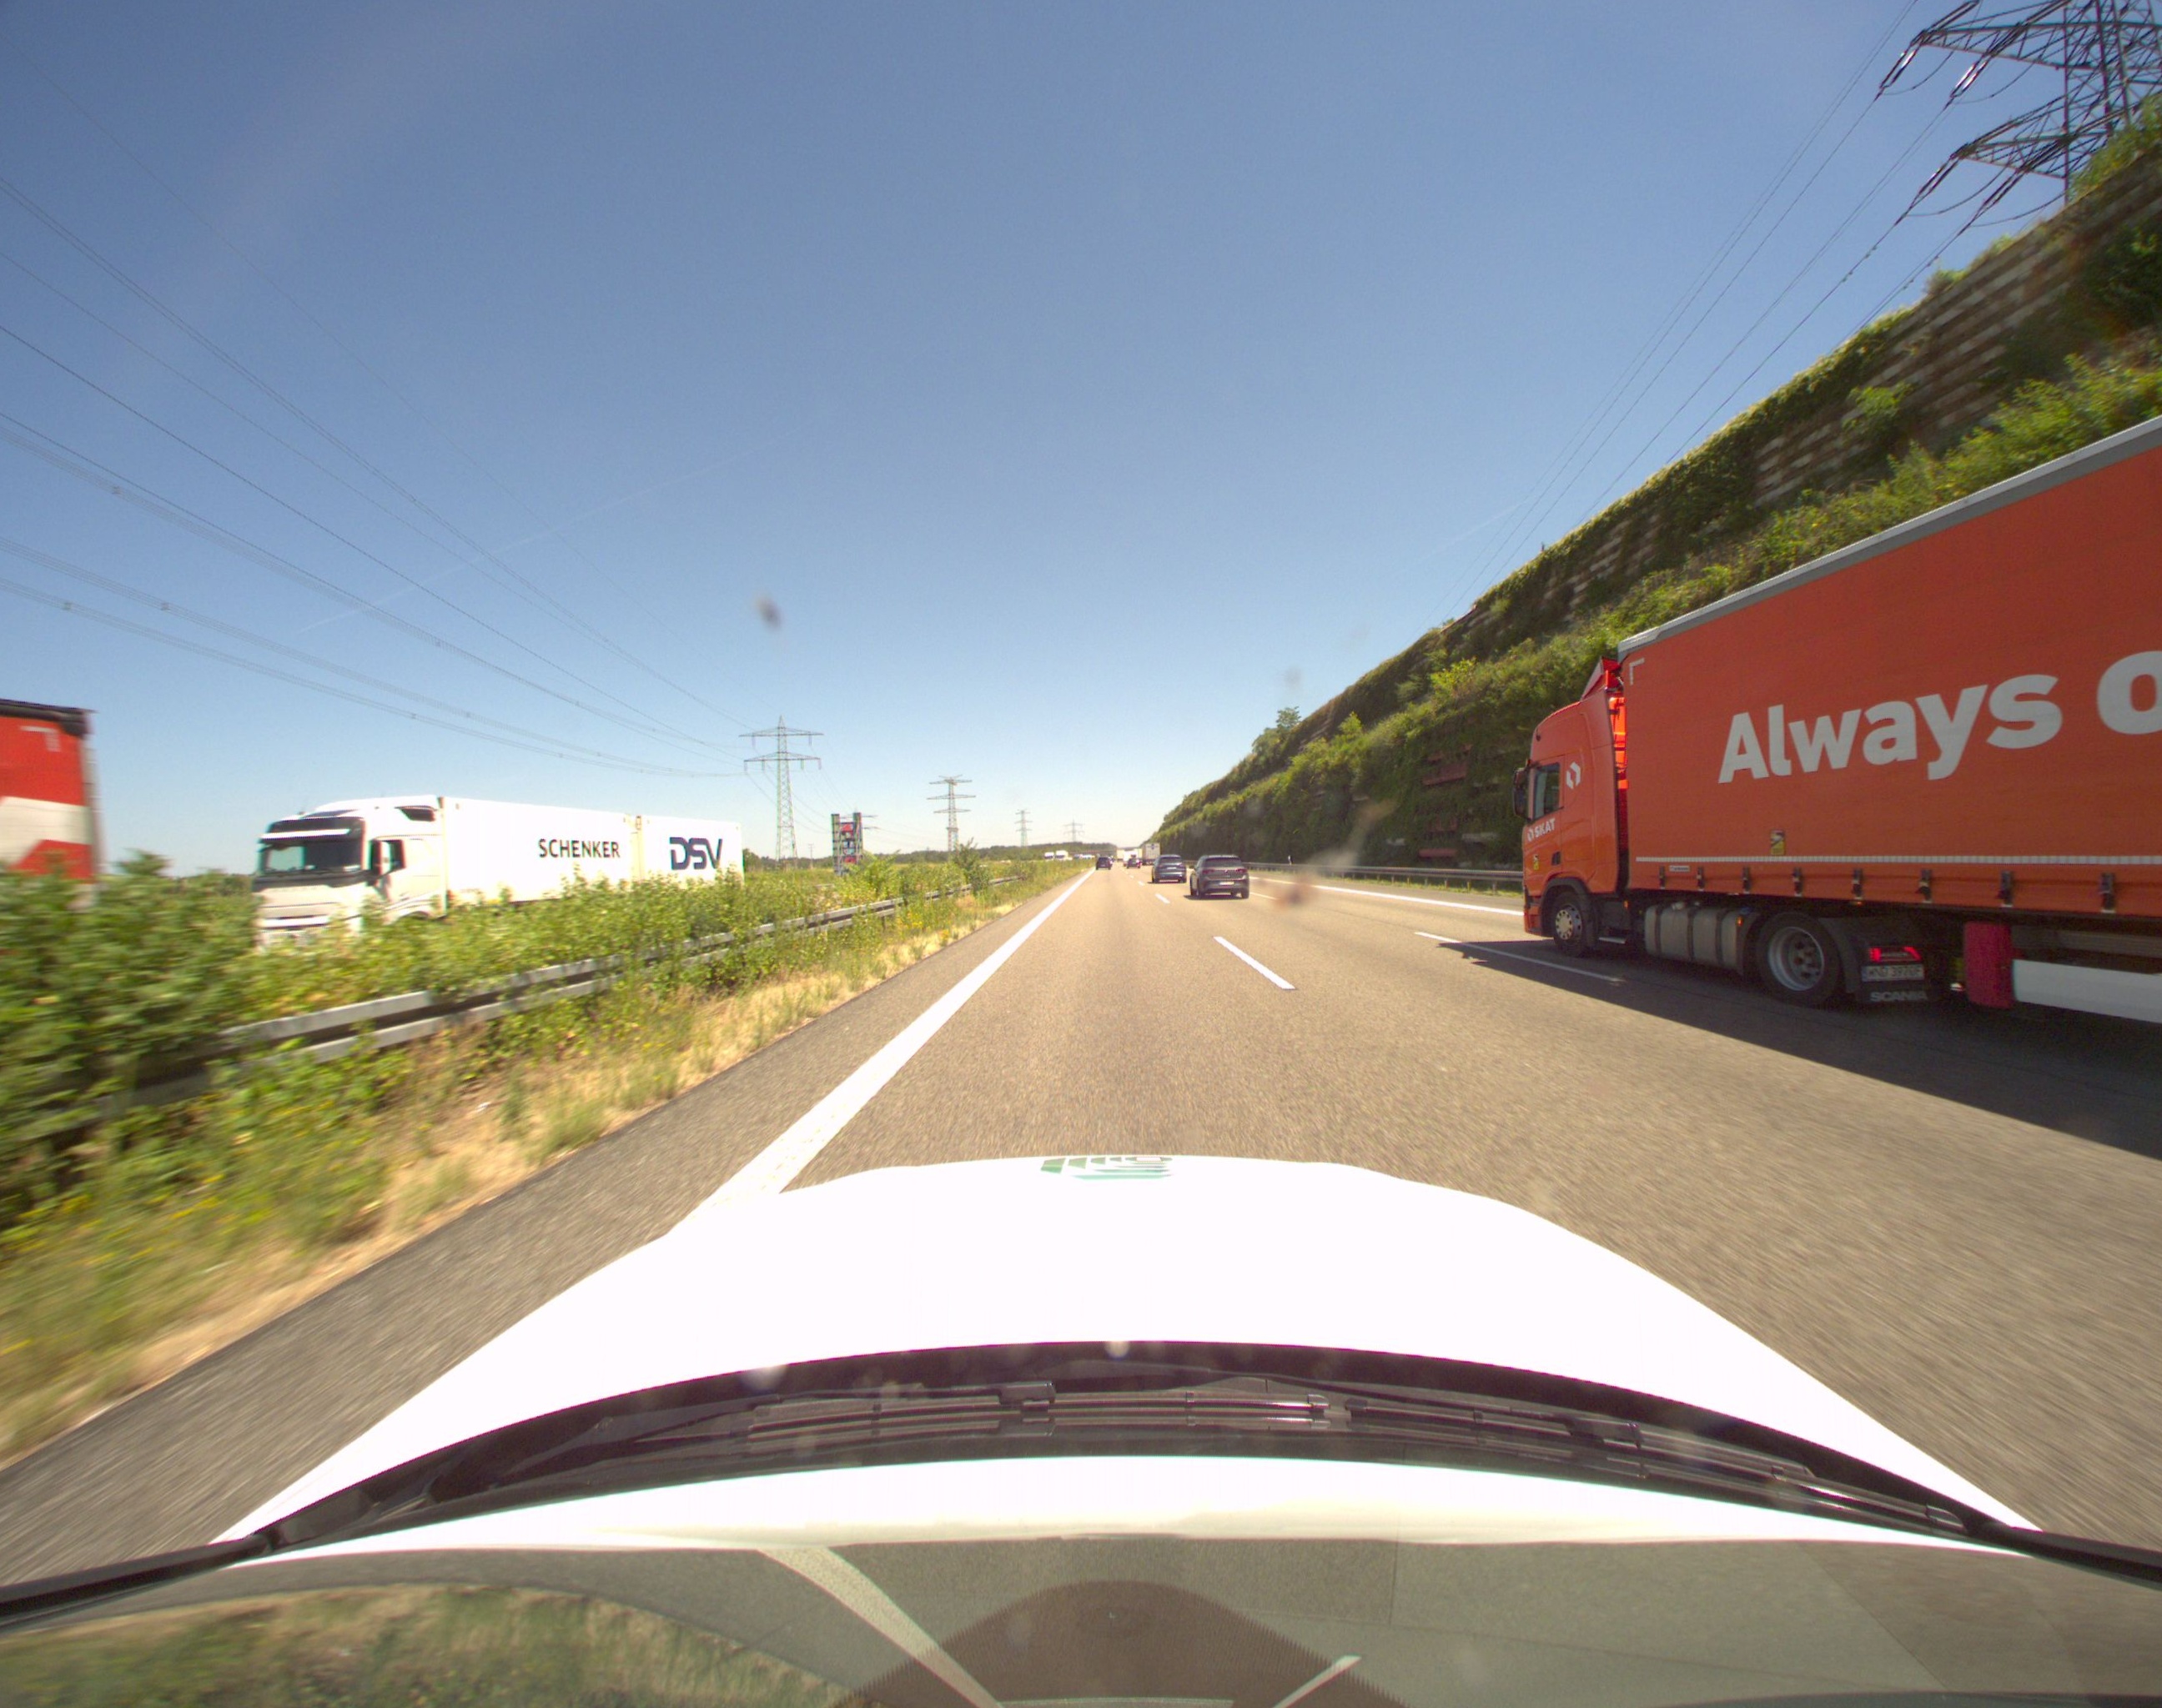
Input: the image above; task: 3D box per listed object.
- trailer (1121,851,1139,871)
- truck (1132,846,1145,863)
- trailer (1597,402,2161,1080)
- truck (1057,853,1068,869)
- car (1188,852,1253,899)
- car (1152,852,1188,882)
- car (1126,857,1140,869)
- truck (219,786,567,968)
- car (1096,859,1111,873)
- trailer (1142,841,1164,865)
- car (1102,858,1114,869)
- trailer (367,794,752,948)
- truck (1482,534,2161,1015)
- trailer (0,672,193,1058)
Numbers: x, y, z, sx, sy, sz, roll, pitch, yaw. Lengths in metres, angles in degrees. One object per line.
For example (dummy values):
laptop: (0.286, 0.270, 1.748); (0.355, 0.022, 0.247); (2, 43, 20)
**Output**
trailer: (8.373, 1.143, 139.590); (2.601, 3.213, 9.955); (-2, 0, 2)
truck: (15.658, 0.197, 222.674); (3.107, 4.280, 11.940); (-2, 0, 2)
trailer: (7.667, -0.689, 3.438); (2.635, 4.005, 13.611); (-1, 0, 2)
truck: (-5.071, 1.958, 225.299); (2.795, 4.158, 5.571); (-1, 0, 1)
car: (4.998, 0.737, 29.727); (1.743, 1.525, 3.996); (-2, 0, 1)
car: (5.211, 0.747, 48.083); (1.787, 1.653, 4.140); (-2, 0, 2)
car: (7.172, 1.232, 112.348); (1.822, 1.525, 4.003); (-3, 0, 3)
truck: (-16.772, 0.493, 20.727); (2.825, 3.751, 6.850); (-3, 0, 1)
car: (2.985, 1.595, 107.491); (1.823, 1.670, 4.001); (-3, 0, 2)
trailer: (13.184, -0.077, 149.396); (3.171, 4.121, 13.437); (-2, 0, 2)
car: (4.414, 1.478, 132.114); (1.823, 1.670, 4.001); (-3, 0, 2)
trailer: (-16.594, 0.470, 28.850); (2.844, 3.822, 15.982); (-3, 0, 1)
truck: (7.885, -0.658, 10.149); (2.608, 3.992, 6.529); (-2, 0, 2)
trailer: (-13.240, 0.143, 3.604); (2.582, 4.238, 14.331); (-3, 0, 1)
